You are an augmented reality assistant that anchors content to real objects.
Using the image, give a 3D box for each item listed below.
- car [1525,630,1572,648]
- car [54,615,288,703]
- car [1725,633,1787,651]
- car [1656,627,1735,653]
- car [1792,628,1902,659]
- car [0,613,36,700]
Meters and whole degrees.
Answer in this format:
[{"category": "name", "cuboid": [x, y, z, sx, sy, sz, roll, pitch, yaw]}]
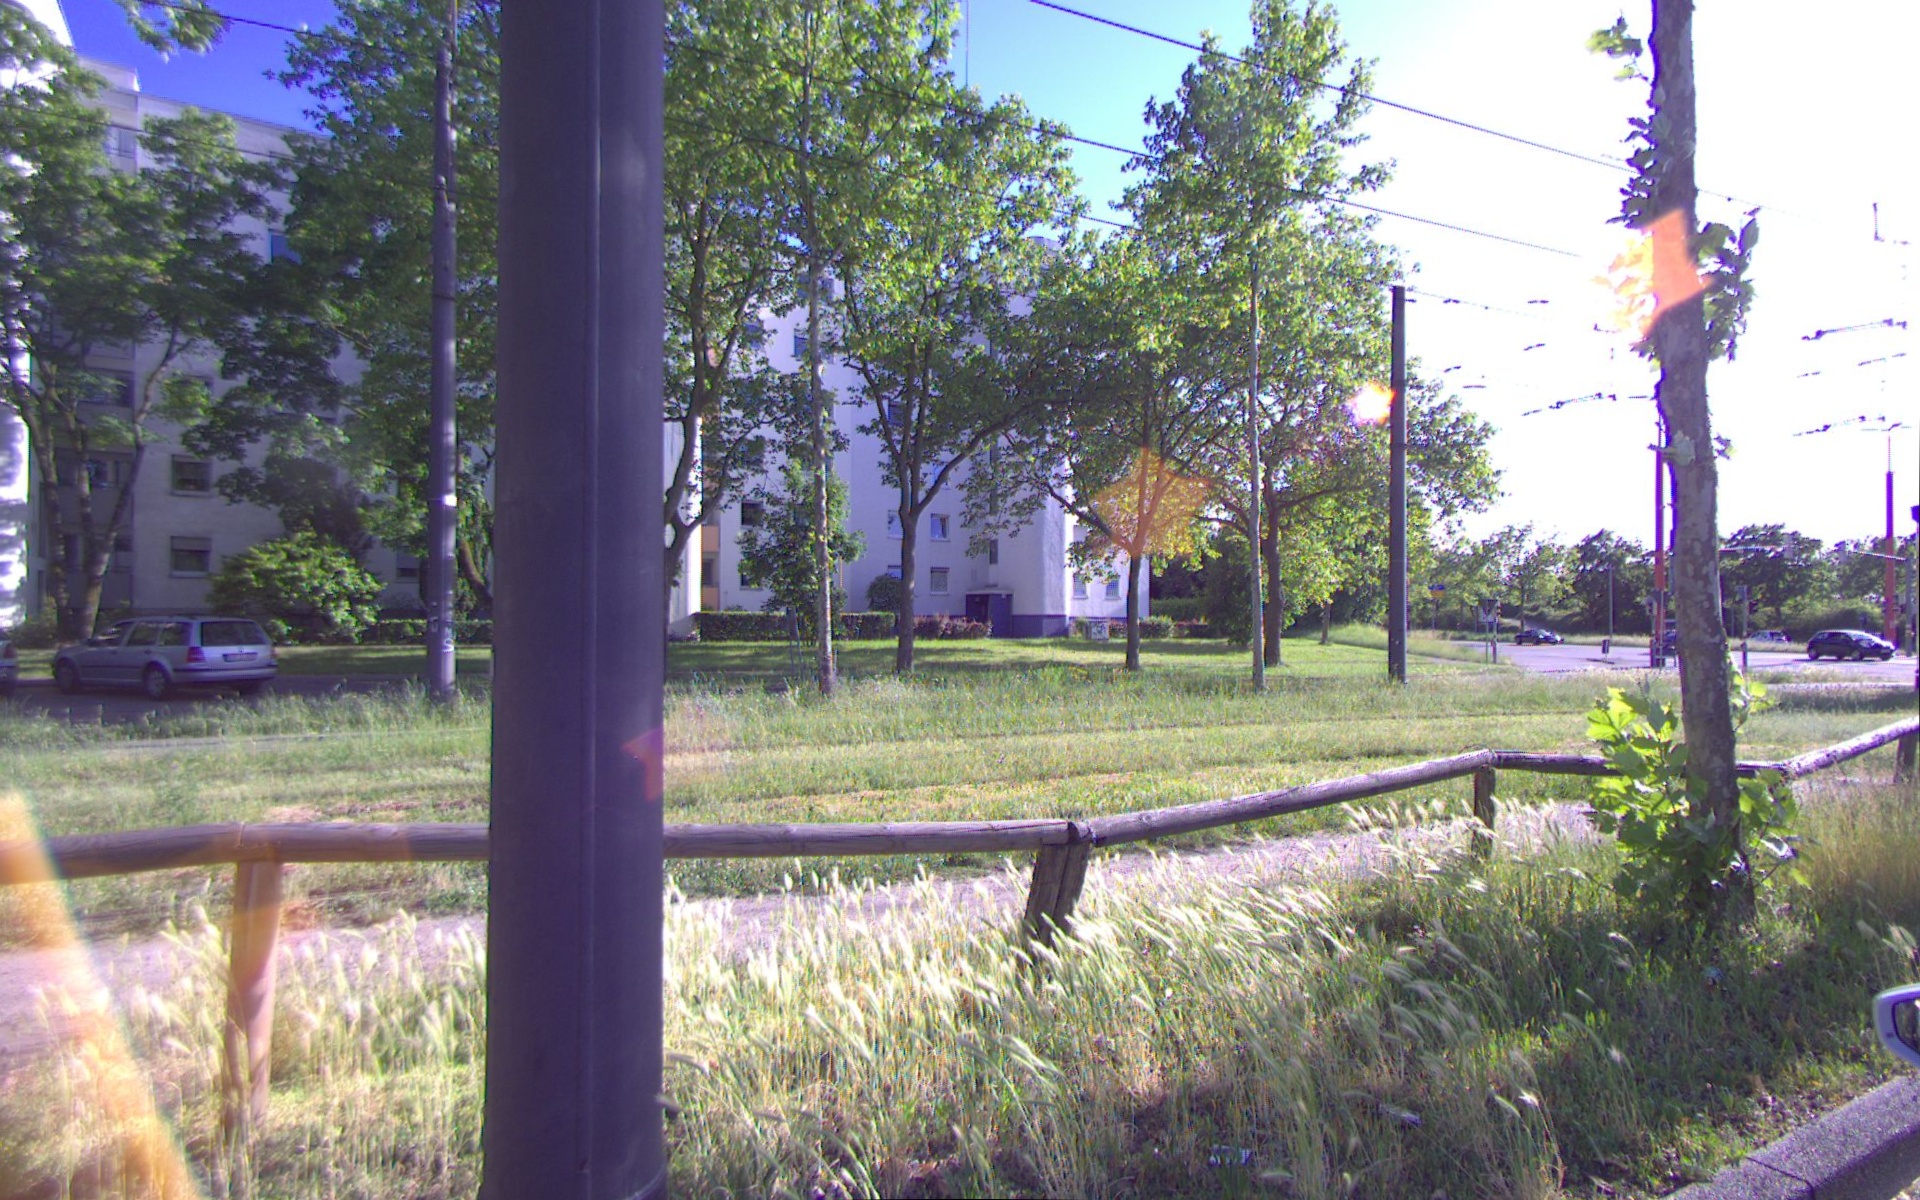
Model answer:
[{"category": "car", "cuboid": [47.753, 3.159, 81.610, 1.707, 1.327, 3.817, 1, -1, 3]}, {"category": "car", "cuboid": [-14.483, 1.035, 18.476, 3.609, 1.452, 1.732, 0, -1, 20]}, {"category": "car", "cuboid": [64.882, 3.427, 81.936, 1.633, 1.327, 3.809, 1, -1, -10]}, {"category": "car", "cuboid": [45.563, 2.472, 62.333, 1.876, 1.483, 4.241, 1, -1, 1]}, {"category": "car", "cuboid": [45.789, 2.243, 51.966, 1.879, 1.483, 4.050, 1, -1, -9]}, {"category": "car", "cuboid": [-17.927, 0.937, 17.131, 3.609, 1.452, 1.703, 0, -1, 20]}]
